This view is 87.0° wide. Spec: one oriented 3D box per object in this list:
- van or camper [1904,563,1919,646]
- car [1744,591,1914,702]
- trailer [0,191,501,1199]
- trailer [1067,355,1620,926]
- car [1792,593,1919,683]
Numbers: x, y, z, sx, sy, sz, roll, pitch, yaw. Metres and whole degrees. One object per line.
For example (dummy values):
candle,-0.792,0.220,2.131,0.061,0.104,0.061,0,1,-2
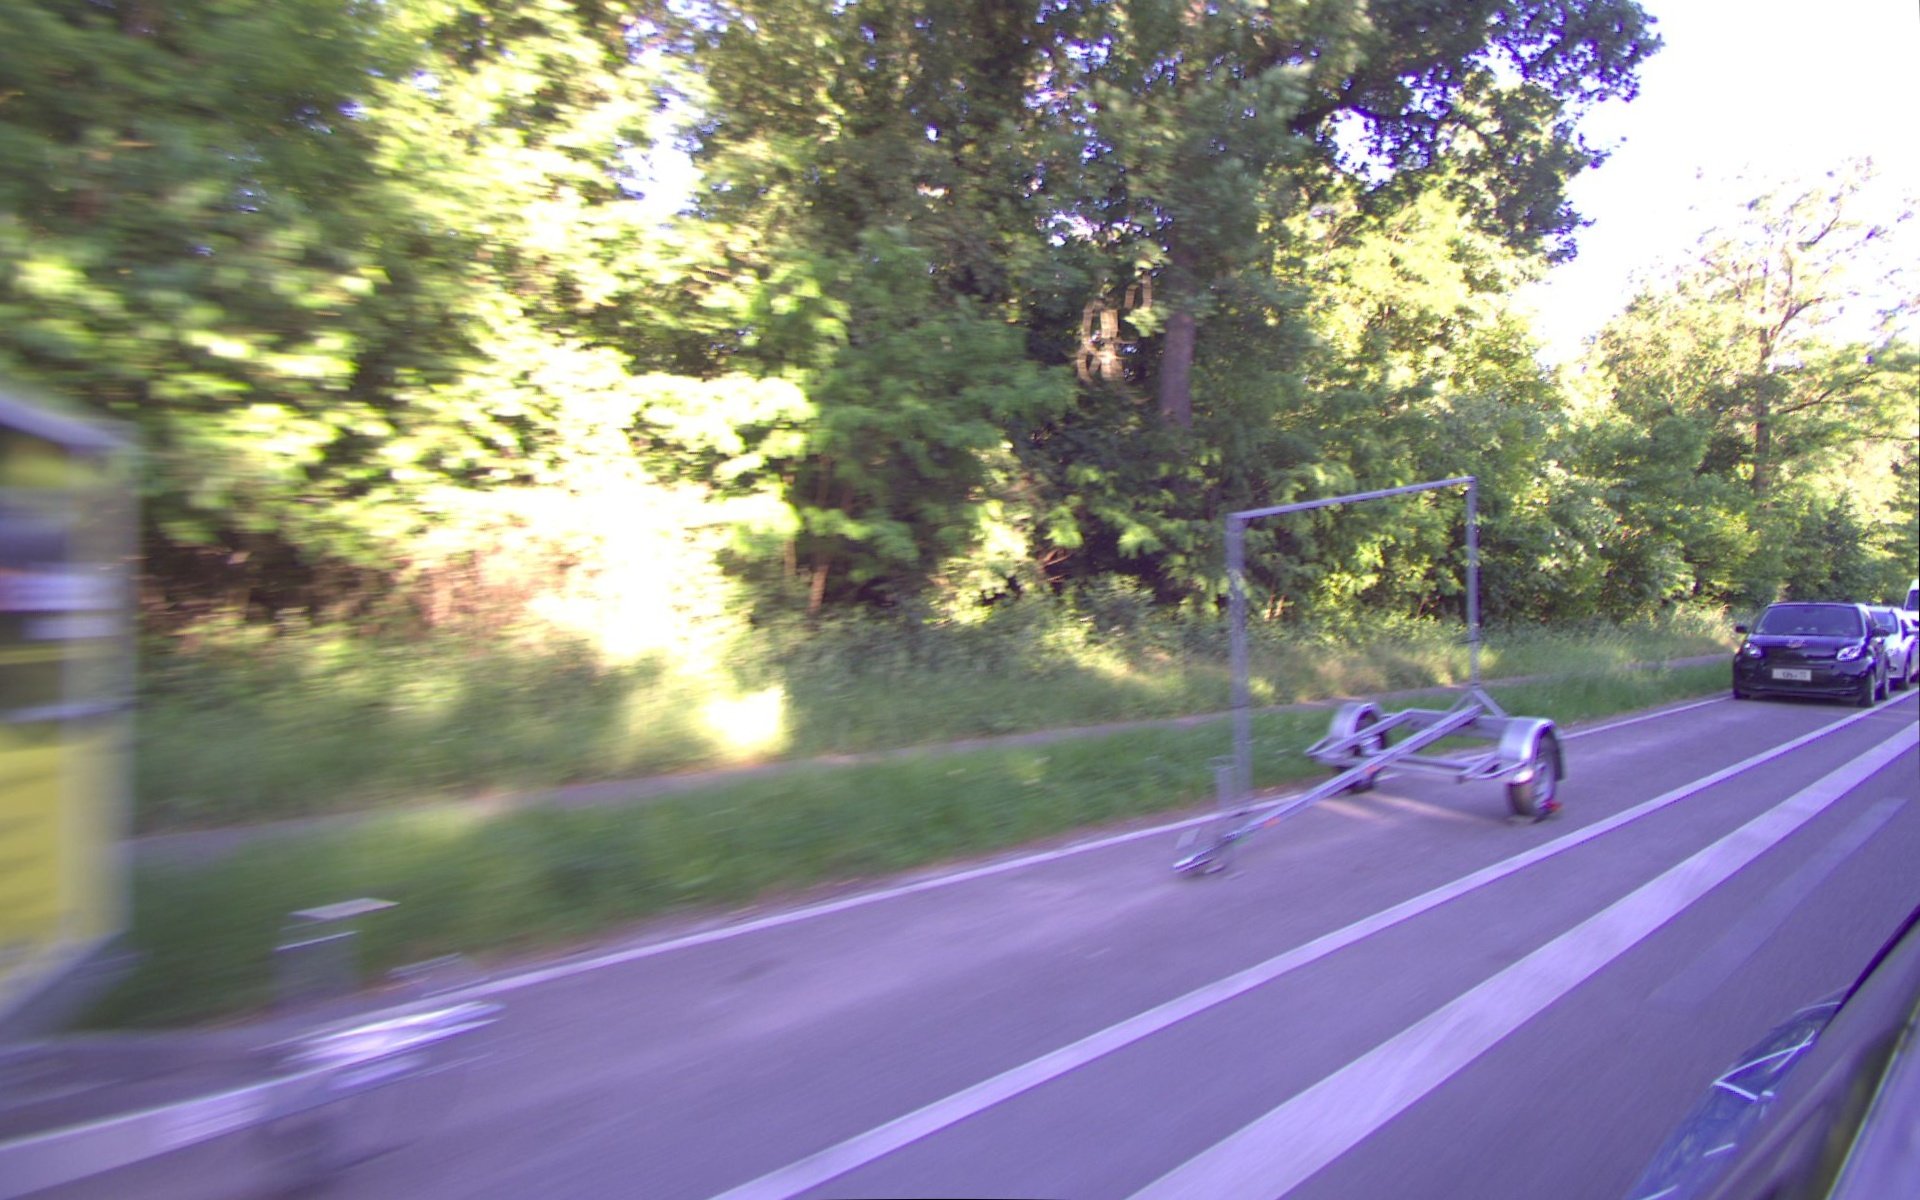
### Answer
van or camper,32.083,0.165,32.252,6.192,2.513,2.130,0,1,-40
car,13.512,0.643,15.699,2.958,1.549,1.589,0,0,-41
trailer,-2.987,0.412,1.837,3.763,2.048,1.973,1,1,-21
trailer,2.613,0.155,6.415,3.930,2.540,1.616,0,1,-41
car,17.165,0.640,19.024,4.325,1.506,1.737,0,0,-42
